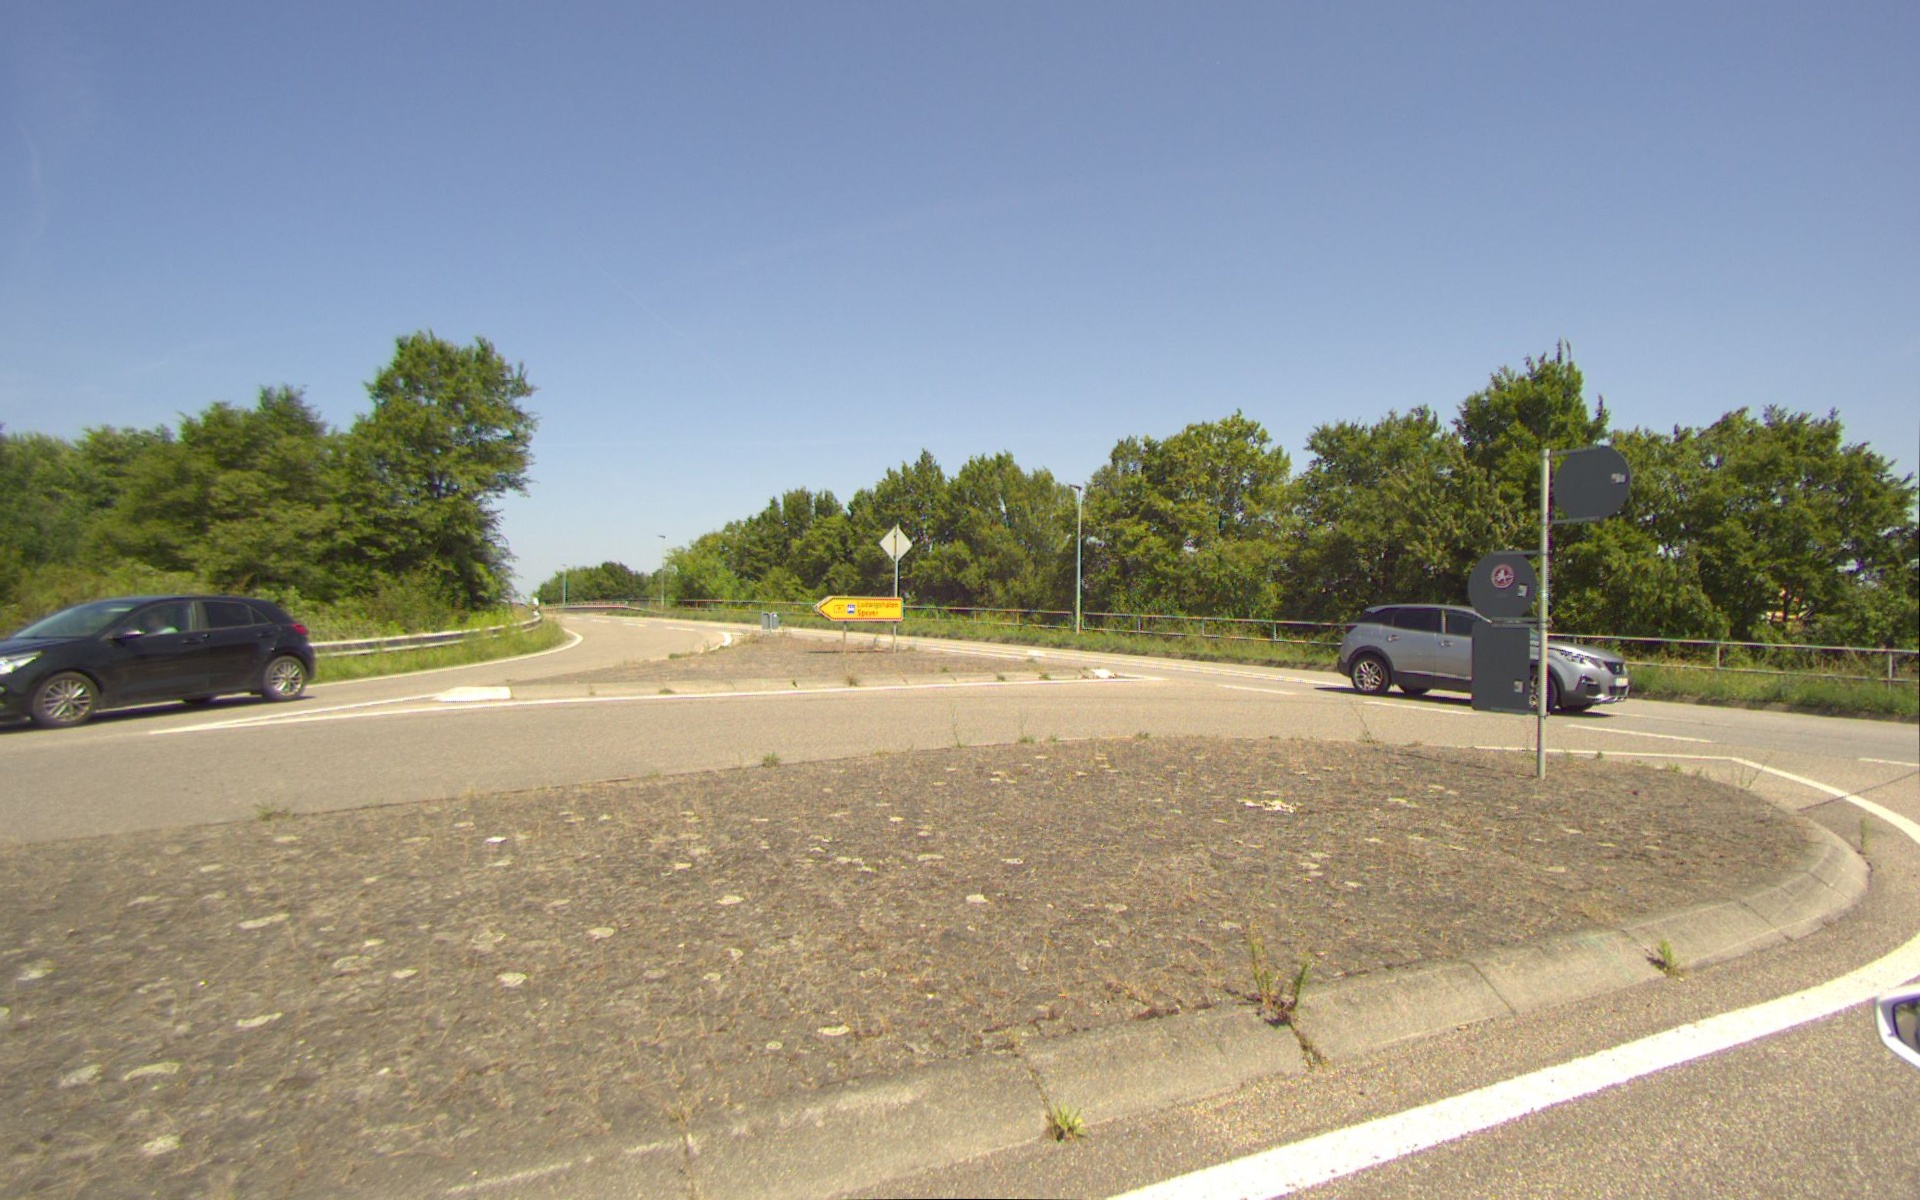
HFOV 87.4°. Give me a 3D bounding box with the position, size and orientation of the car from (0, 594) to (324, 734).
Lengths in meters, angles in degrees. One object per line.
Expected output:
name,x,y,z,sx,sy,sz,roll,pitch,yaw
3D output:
car,-10.094,0.669,12.166,1.679,1.414,3.888,-2,0,15

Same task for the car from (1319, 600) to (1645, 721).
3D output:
car,8.489,0.904,16.708,1.783,1.604,4.439,2,0,-39
